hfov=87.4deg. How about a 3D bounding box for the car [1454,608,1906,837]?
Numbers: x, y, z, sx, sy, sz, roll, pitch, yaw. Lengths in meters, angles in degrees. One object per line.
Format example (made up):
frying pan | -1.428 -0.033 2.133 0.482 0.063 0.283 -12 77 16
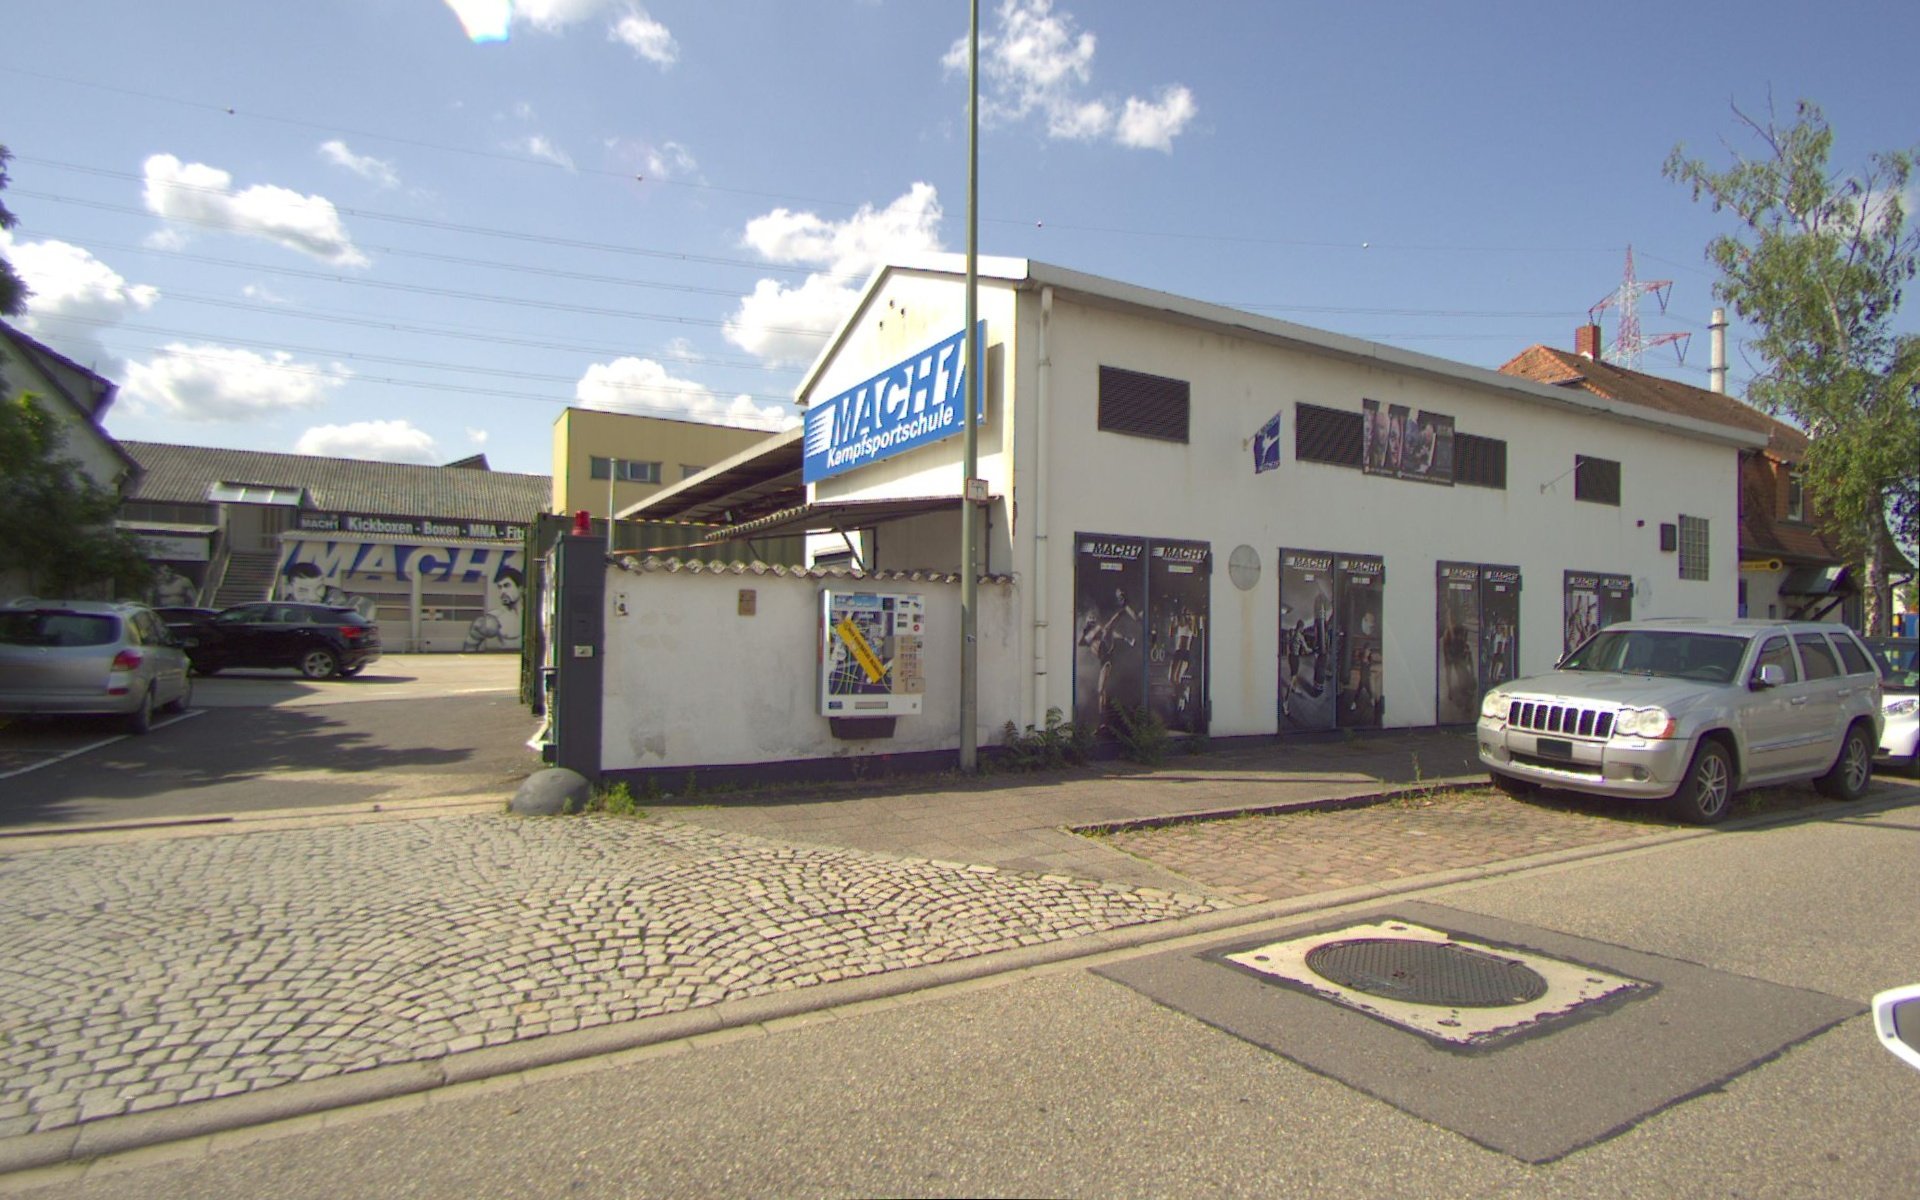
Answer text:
car | 7.099 1.027 9.781 4.695 1.742 1.782 2 0 -30

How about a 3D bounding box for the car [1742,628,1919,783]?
car | 11.351 1.202 12.366 2.971 1.595 1.603 1 1 -28

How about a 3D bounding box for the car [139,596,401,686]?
car | -13.820 0.832 20.373 3.857 1.589 1.890 3 -2 -12

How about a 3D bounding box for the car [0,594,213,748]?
car | -10.649 0.784 12.368 1.830 1.582 3.893 5 -2 -31
